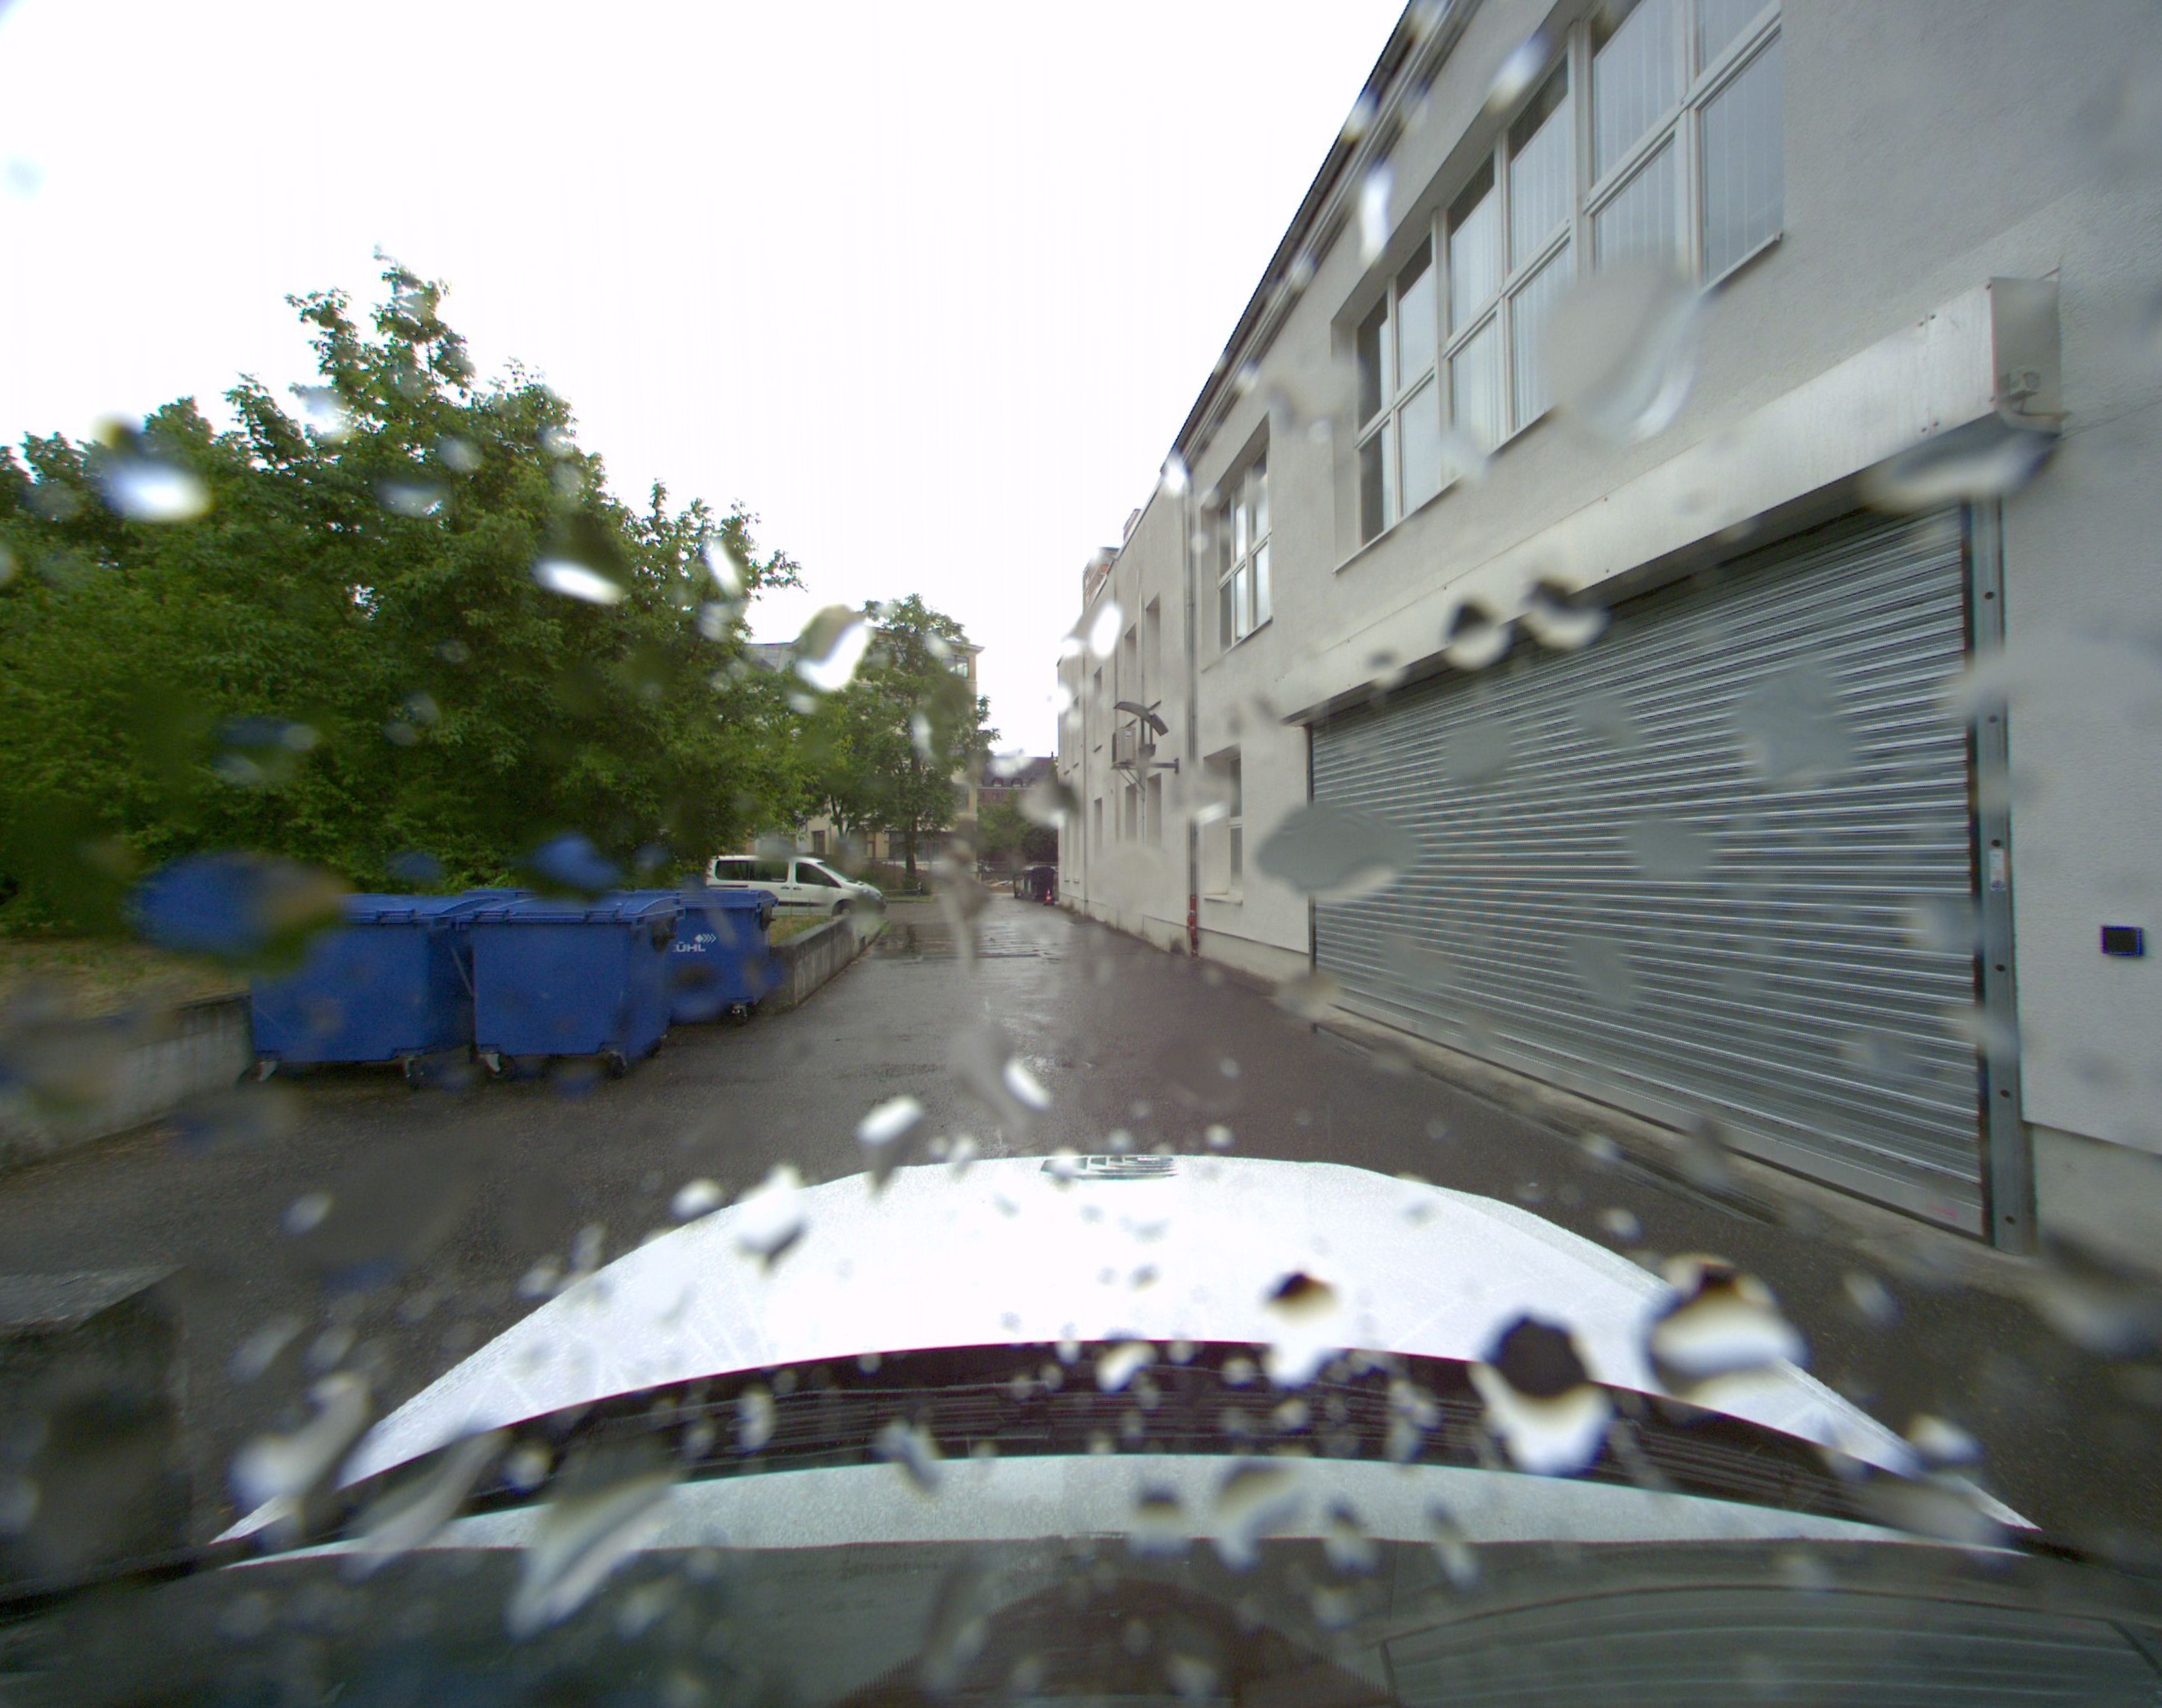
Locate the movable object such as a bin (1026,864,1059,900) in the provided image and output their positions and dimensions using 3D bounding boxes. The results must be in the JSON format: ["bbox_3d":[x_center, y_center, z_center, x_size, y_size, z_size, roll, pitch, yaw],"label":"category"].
[{"bbox_3d":[-1.600,1.161,33.480,1.215,1.437,1.231,0,-3,-11],"label":"movable object such as a bin"}]

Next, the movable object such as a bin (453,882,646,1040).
[{"bbox_3d":[-4.998,0.964,7.769,1.221,1.337,1.003,0,0,-9],"label":"movable object such as a bin"}]

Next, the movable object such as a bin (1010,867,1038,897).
[{"bbox_3d":[-2.763,1.377,39.423,1.215,1.437,1.254,0,-3,-11],"label":"movable object such as a bin"}]

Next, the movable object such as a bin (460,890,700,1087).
[{"bbox_3d":[-3.805,0.973,6.337,1.201,1.337,1.115,0,-1,-5],"label":"movable object such as a bin"}]

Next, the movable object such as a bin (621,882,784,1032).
[{"bbox_3d":[-3.710,0.969,8.112,1.221,1.337,1.003,0,-1,-9],"label":"movable object such as a bin"}]

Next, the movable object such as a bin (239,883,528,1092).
[{"bbox_3d":[-5.105,0.929,6.090,1.202,1.337,1.113,1,1,-9],"label":"movable object such as a bin"}]

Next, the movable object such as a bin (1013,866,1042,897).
[{"bbox_3d":[-2.522,1.305,38.072,1.215,1.437,1.254,0,-3,-11],"label":"movable object such as a bin"}]

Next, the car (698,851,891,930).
[{"bbox_3d":[-7.924,0.963,22.973,4.778,2.013,1.994,-1,0,-9],"label":"car"}]

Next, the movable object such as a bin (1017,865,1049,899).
[{"bbox_3d":[-2.071,1.224,35.107,1.215,1.437,1.289,0,-3,-11],"label":"movable object such as a bin"}]
